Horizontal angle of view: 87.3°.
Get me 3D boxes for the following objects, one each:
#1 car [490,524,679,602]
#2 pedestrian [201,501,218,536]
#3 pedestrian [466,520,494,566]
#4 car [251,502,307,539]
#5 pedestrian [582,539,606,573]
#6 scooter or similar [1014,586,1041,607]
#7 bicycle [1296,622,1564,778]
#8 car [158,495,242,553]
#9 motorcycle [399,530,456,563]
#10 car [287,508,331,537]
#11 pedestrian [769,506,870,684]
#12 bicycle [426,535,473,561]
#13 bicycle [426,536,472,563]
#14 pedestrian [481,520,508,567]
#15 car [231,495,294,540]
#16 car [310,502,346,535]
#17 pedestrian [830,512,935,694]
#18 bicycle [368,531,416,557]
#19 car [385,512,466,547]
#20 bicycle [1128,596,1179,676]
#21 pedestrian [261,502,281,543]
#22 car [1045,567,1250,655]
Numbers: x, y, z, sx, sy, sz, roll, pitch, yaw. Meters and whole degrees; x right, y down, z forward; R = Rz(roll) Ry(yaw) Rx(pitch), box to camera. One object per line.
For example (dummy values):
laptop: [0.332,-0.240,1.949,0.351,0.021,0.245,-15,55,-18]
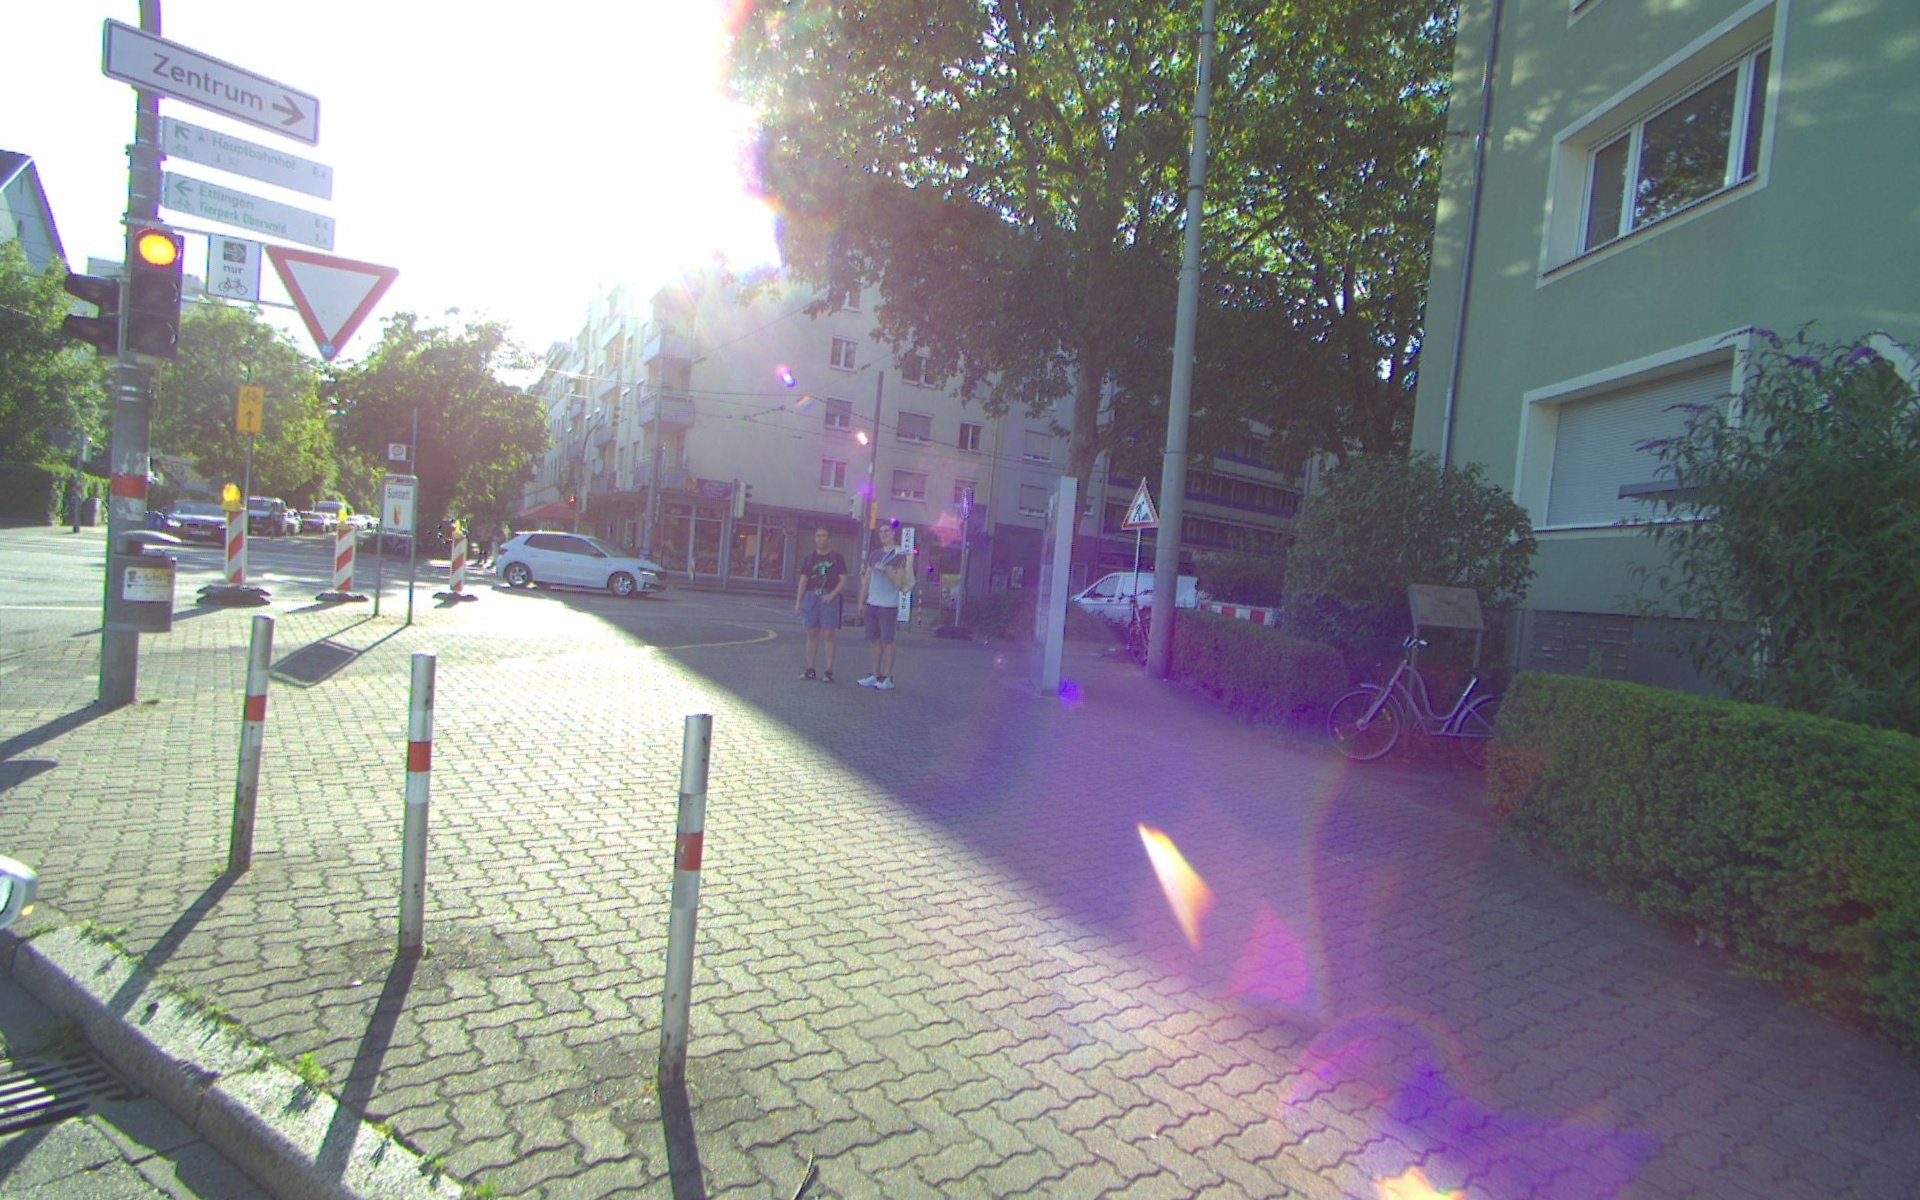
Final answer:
car: [-9.292,-0.911,25.123,3.926,1.506,1.895,6,2,-2]
pedestrian: [-39.669,-4.302,53.176,0.575,1.754,0.602,4,3,-34]
pedestrian: [-19.480,-2.293,40.824,0.706,1.774,0.793,5,2,-7]
car: [-40.162,-4.687,59.462,2.336,1.818,5.265,4,2,-31]
pedestrian: [-17.684,-2.138,48.562,0.806,1.565,0.905,3,3,-35]
scooter or similar: [3.506,-0.188,52.148,1.421,0.966,0.462,4,3,-44]
bicycle: [3.946,0.825,8.546,1.897,1.071,0.521,6,2,5]
car: [-24.131,-2.398,32.068,1.880,1.585,4.351,3,2,-35]
motorcycle: [-21.644,-2.168,40.883,1.938,1.124,0.829,4,2,-34]
car: [-47.037,-5.587,72.774,2.336,1.818,5.265,4,2,-31]
pedestrian: [-1.482,-0.055,10.722,0.680,1.774,0.794,6,2,13]
bicycle: [-21.606,-2.193,42.607,1.708,0.945,0.557,5,2,-29]
bicycle: [-21.976,-2.171,43.278,1.708,0.945,0.557,5,2,-29]
pedestrian: [-18.576,-2.239,40.150,0.681,1.774,0.793,5,2,-7]
car: [-37.332,-4.404,53.989,2.336,2.040,5.265,4,2,-31]
car: [-54.386,-6.990,86.640,2.336,2.548,5.265,4,2,-31]
pedestrian: [-0.799,0.028,10.519,0.680,1.774,0.794,6,2,21]
bicycle: [-23.704,-2.337,42.015,1.708,0.945,0.667,5,2,-29]
car: [-39.350,-5.159,74.121,5.050,1.948,2.344,5,0,-32]
bicycle: [2.858,0.498,15.000,0.511,1.071,1.933,6,2,7]
pedestrian: [-32.613,-3.681,47.629,0.656,1.863,0.677,4,3,-30]
car: [4.706,0.226,26.129,1.913,1.849,5.185,5,0,-37]
